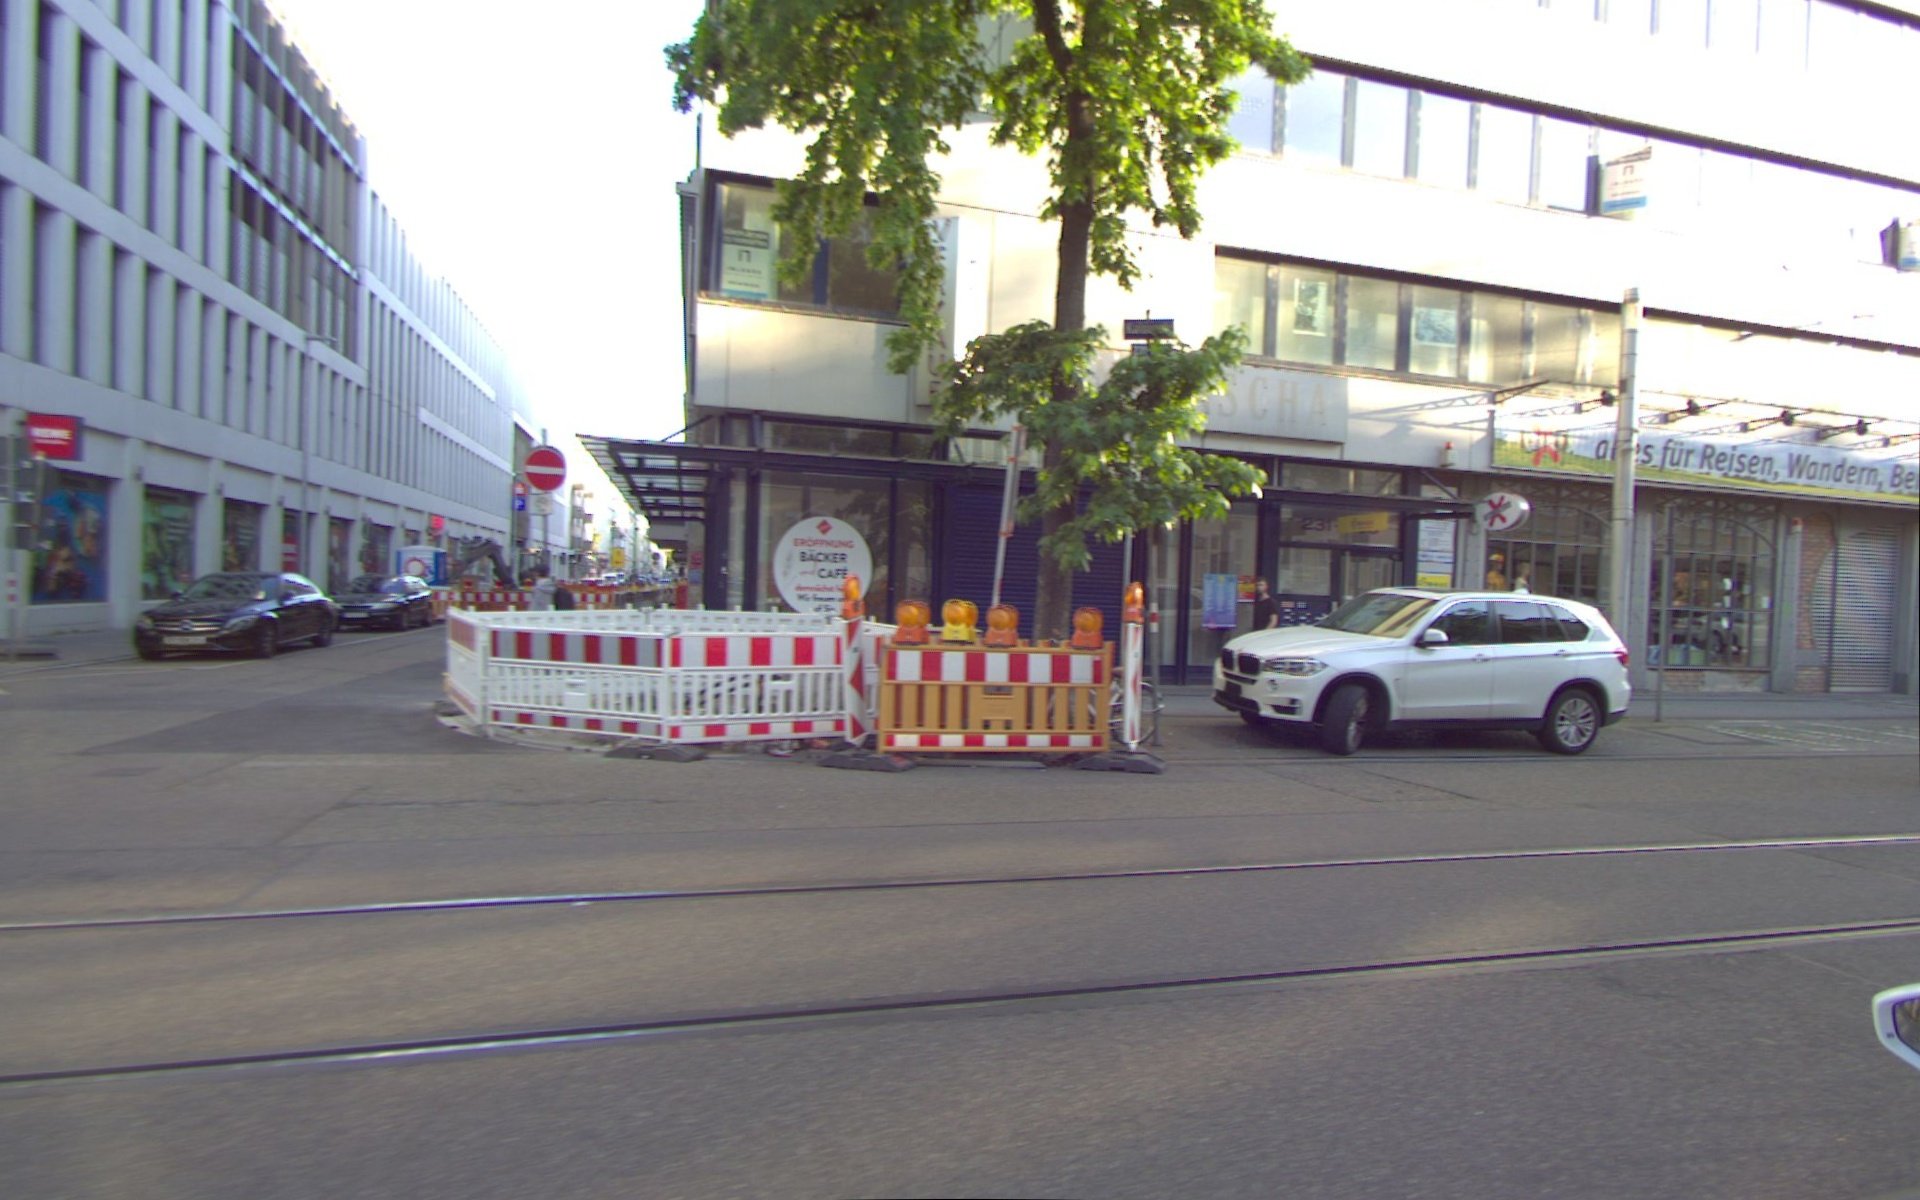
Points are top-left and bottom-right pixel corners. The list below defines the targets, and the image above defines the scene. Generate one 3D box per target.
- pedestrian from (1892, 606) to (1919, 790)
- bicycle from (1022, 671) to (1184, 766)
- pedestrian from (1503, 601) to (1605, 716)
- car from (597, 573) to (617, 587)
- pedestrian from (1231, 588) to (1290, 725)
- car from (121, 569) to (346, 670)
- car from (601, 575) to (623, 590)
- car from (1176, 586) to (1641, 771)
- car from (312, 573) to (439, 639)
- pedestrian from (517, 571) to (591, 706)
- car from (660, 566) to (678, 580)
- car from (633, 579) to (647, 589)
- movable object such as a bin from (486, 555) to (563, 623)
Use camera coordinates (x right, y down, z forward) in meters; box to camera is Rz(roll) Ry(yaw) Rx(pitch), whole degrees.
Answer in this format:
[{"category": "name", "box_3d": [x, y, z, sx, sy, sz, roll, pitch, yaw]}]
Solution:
[{"category": "pedestrian", "box_3d": [9.836, 0.970, 9.913, 0.840, 1.790, 0.828, 2, 1, 41]}, {"category": "bicycle", "box_3d": [1.434, 1.193, 10.158, 1.507, 0.848, 0.502, 2, 3, -10]}, {"category": "pedestrian", "box_3d": [9.465, 0.918, 16.029, 1.020, 1.718, 0.832, 1, 4, -15]}, {"category": "car", "box_3d": [-39.376, -2.192, 112.168, 1.871, 1.478, 3.985, 1, 1, -17]}, {"category": "pedestrian", "box_3d": [4.575, 0.840, 15.317, 0.583, 2.041, 0.614, 1, 1, -16]}, {"category": "car", "box_3d": [-12.504, 0.277, 17.622, 1.810, 1.562, 3.988, 1, 1, -14]}, {"category": "car", "box_3d": [-35.006, -1.757, 101.153, 1.871, 1.478, 3.985, 1, 1, -17]}, {"category": "car", "box_3d": [5.118, 0.824, 11.643, 4.666, 1.778, 1.993, 1, 3, -16]}, {"category": "car", "box_3d": [-15.131, 0.118, 26.225, 1.810, 1.562, 3.988, 1, 1, -14]}, {"category": "pedestrian", "box_3d": [-5.156, 0.479, 12.782, 0.713, 1.668, 0.611, 1, 1, -8]}, {"category": "car", "box_3d": [-33.603, -3.112, 115.927, 1.871, 1.478, 3.985, 1, 1, -17]}, {"category": "car", "box_3d": [-47.792, -2.426, 150.037, 1.871, 1.478, 3.985, 1, 1, -17]}, {"category": "movable object such as a bin", "box_3d": [-17.737, -0.461, 41.168, 2.158, 2.569, 5.305, 1, 1, -16]}]
